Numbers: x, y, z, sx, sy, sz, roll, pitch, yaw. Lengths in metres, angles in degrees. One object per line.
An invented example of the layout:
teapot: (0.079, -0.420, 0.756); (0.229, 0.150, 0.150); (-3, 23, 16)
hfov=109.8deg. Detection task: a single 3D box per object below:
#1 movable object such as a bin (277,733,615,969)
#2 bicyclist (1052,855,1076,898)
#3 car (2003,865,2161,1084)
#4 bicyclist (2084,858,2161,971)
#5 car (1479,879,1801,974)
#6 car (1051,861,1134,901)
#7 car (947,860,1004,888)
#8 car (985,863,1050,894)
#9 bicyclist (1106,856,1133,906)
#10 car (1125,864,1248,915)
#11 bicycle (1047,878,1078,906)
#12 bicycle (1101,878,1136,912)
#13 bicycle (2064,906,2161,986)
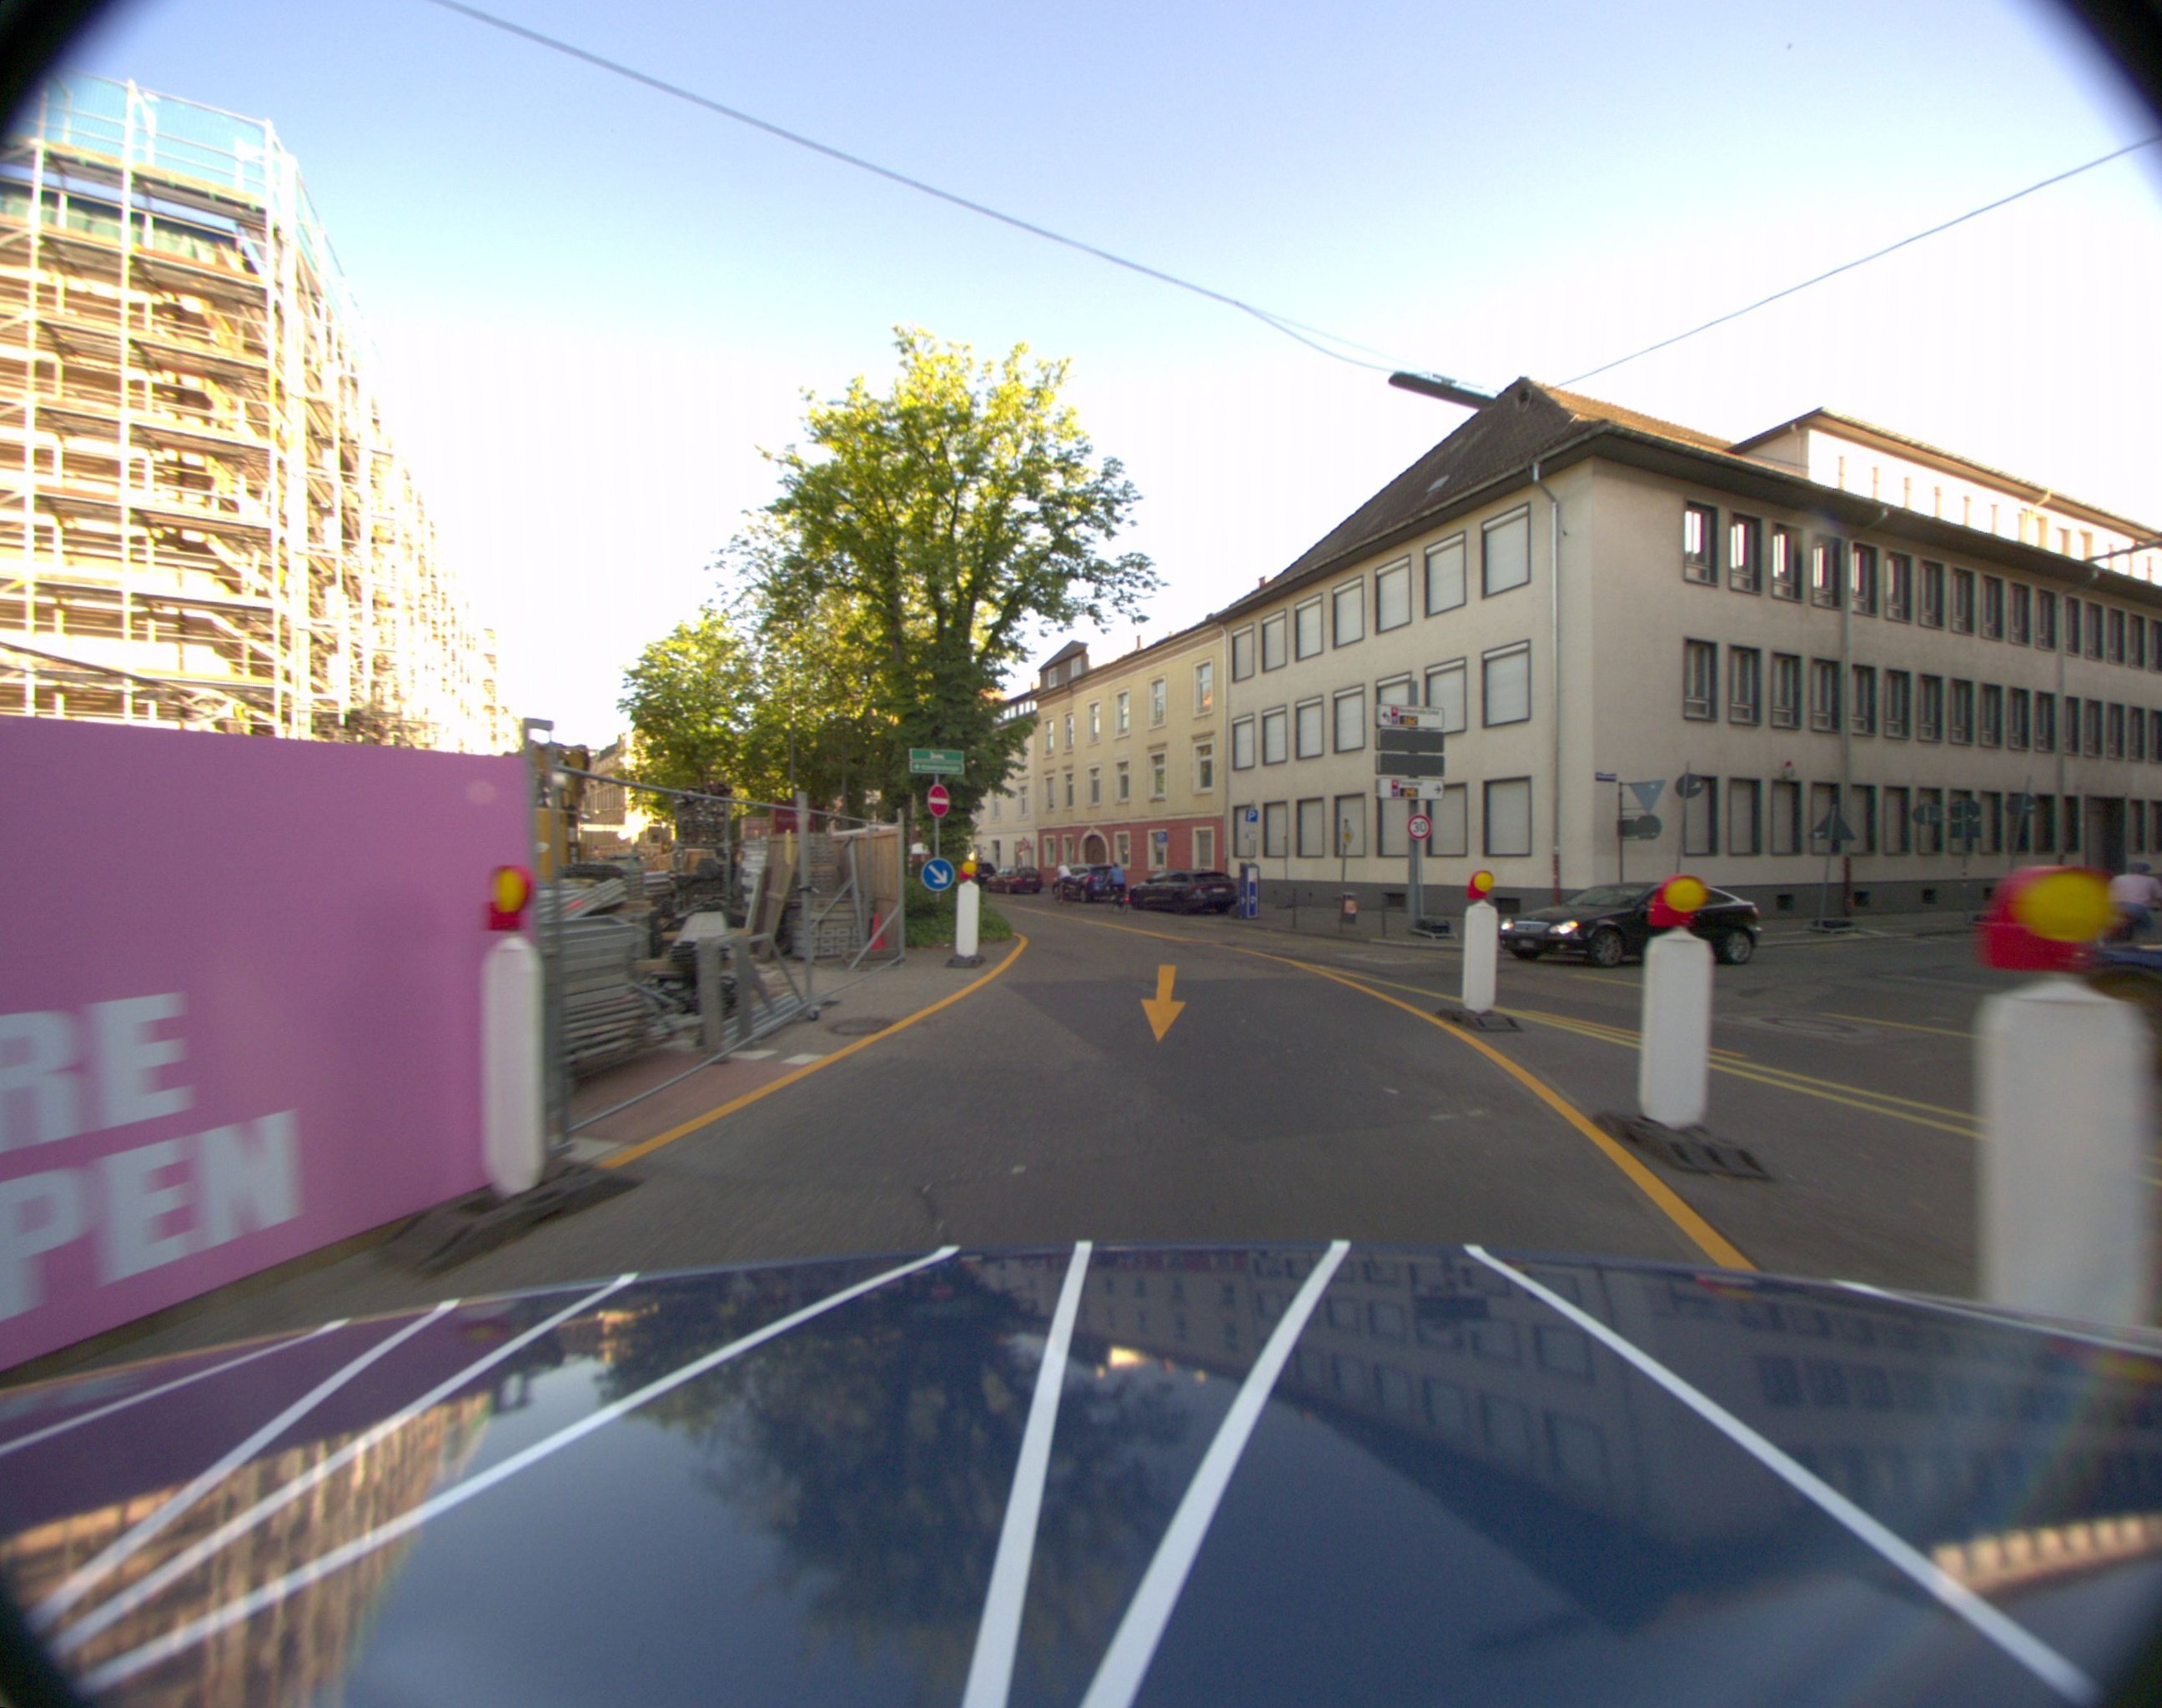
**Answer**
movable object such as a bin: (-10.422, -0.031, 13.165); (3.175, 3.281, 4.378); (0, 0, -20)
bicyclist: (-0.677, 0.898, 30.202); (0.577, 1.649, 1.008); (2, 0, -22)
car: (9.038, 0.929, 4.469); (1.880, 1.661, 4.658); (1, 0, 7)
bicyclist: (15.141, 0.842, 10.954); (0.764, 1.568, 0.643); (0, 1, -23)
car: (9.436, 1.144, 12.912); (4.778, 1.315, 1.764); (0, 0, -14)
car: (0.424, 1.105, 32.648); (1.810, 1.562, 4.145); (0, 0, -27)
car: (-6.333, 1.133, 45.059); (1.822, 1.562, 4.379); (0, 0, -30)
car: (-3.440, 1.248, 40.445); (1.775, 1.479, 4.184); (-2, 1, -31)
bicyclist: (1.308, 0.919, 25.934); (0.583, 1.665, 0.835); (2, 0, -17)
car: (3.521, 1.135, 26.393); (1.884, 1.499, 4.777); (-2, 1, -26)
bicycle: (-0.758, 1.500, 30.325); (0.589, 0.982, 2.026); (1, 0, -21)
bicycle: (1.253, 1.384, 26.055); (0.612, 1.064, 1.894); (1, 0, -16)
bicycle: (15.091, 1.284, 10.933); (2.128, 0.985, 0.638); (0, 0, -23)
